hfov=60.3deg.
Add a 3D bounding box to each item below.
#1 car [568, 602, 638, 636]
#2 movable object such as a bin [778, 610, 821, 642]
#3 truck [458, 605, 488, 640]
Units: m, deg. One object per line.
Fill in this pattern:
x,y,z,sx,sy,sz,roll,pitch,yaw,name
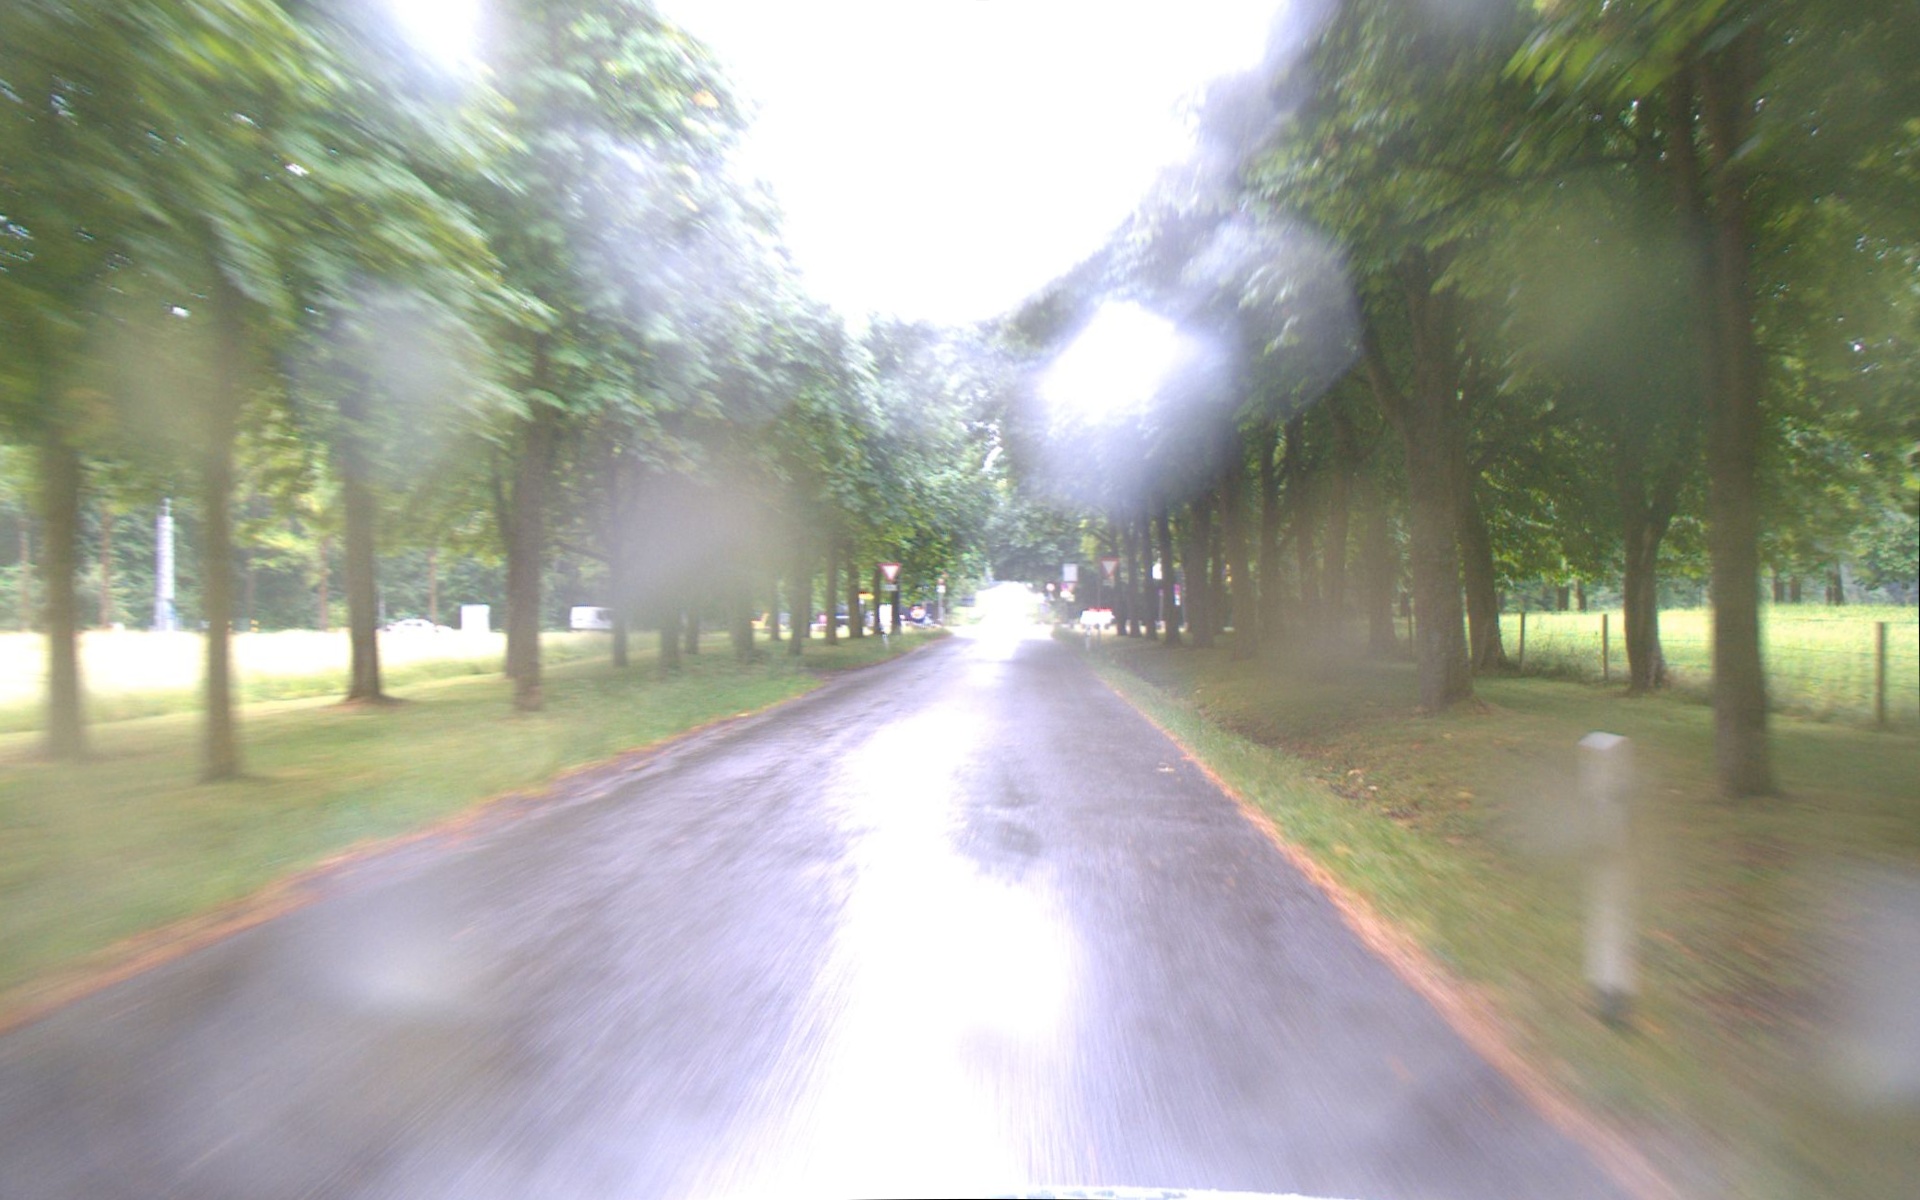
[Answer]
-27.278,1.492,126.231,5.881,2.450,2.376,-3,-3,44,car
-17.721,2.850,182.148,4.497,3.352,3.658,-1,-1,-9,movable object such as a bin
-35.417,1.650,120.392,1.837,2.485,3.339,-1,-1,-12,truck
